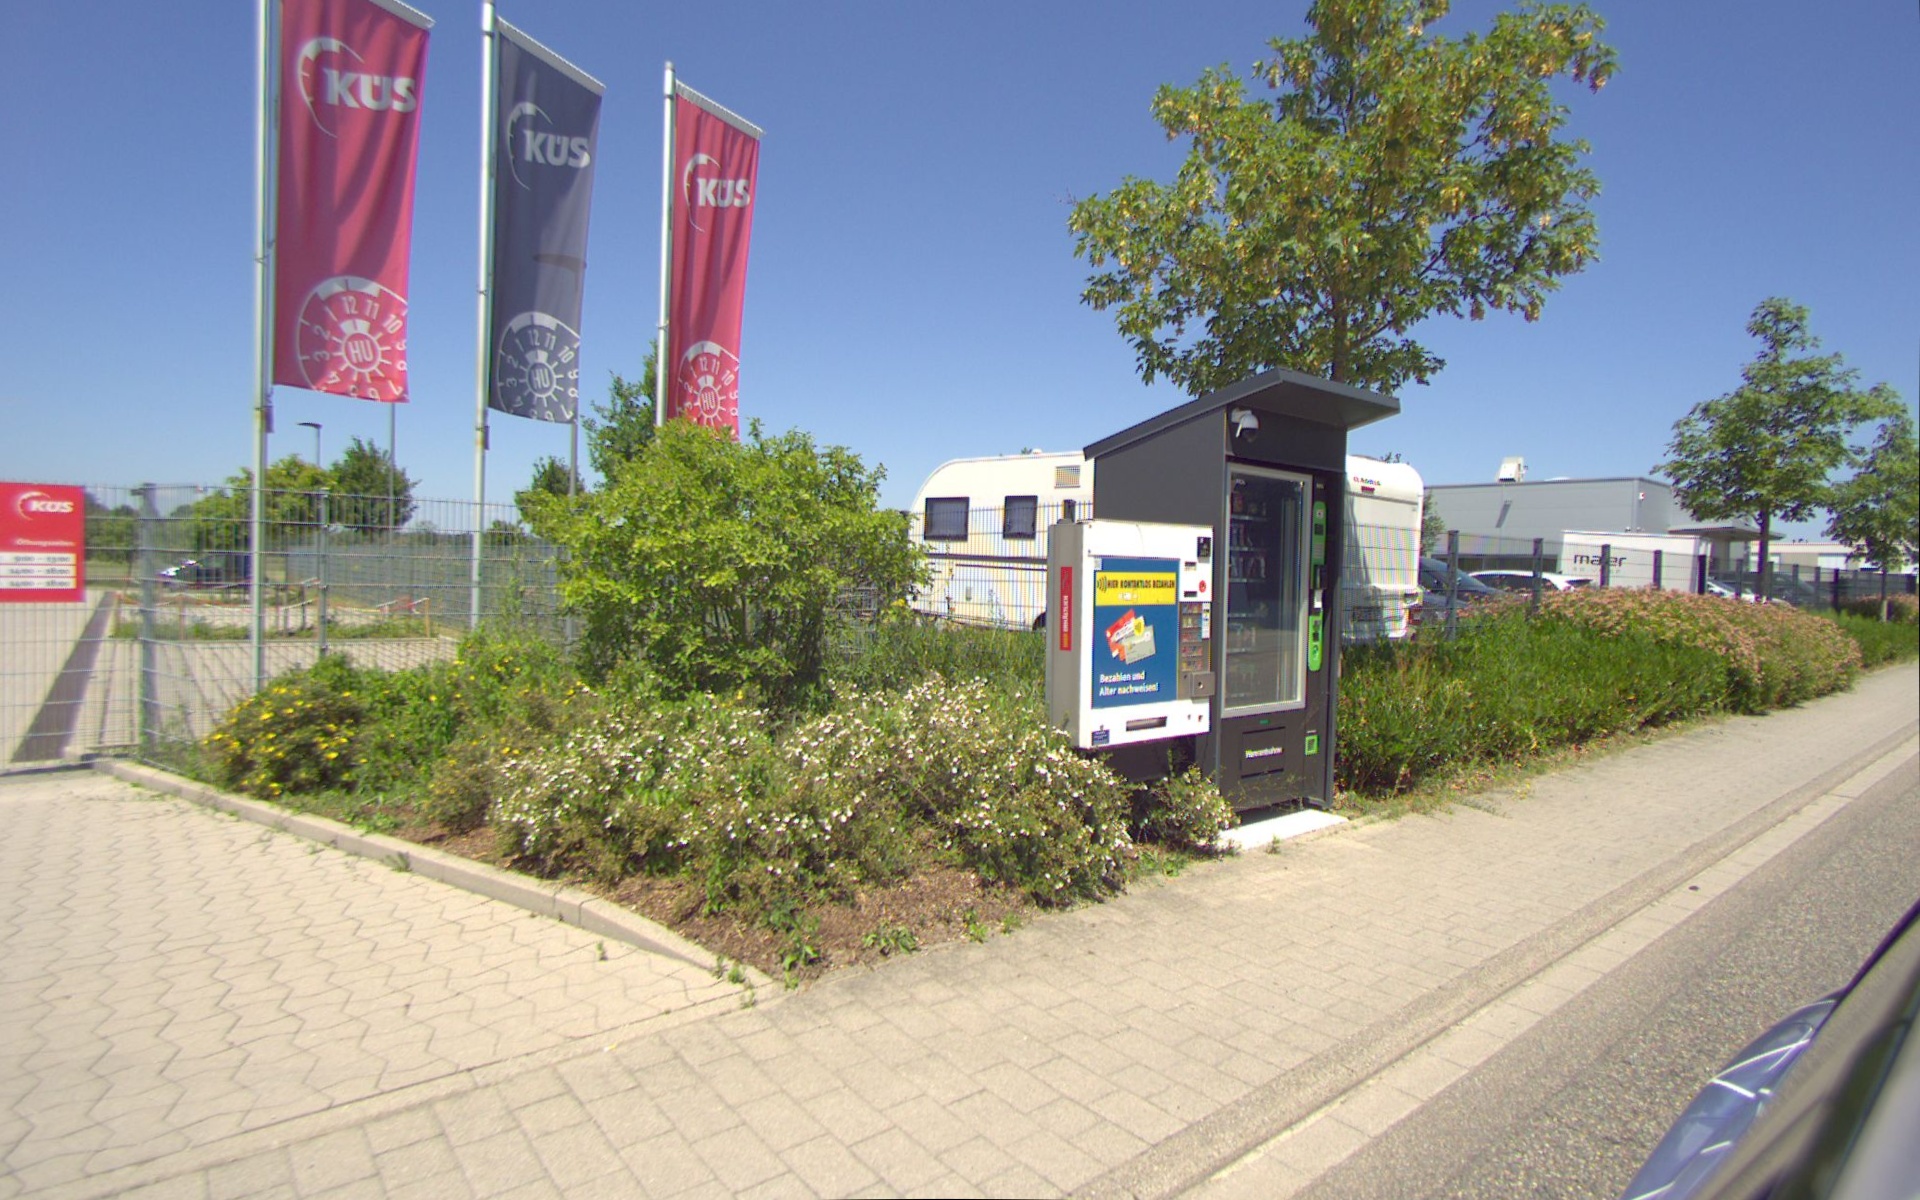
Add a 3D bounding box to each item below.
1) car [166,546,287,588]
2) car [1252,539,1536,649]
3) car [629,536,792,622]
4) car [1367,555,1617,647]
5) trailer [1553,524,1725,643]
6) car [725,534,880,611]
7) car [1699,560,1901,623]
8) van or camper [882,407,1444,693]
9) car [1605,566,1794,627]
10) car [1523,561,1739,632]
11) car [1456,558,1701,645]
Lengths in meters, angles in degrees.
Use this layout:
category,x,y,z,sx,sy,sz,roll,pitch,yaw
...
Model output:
category,x,y,z,sx,sy,sz,roll,pitch,yaw
car,-27.353,-1.182,37.791,3.542,1.475,1.764,-1,0,-41
car,7.568,-0.202,18.017,1.776,1.639,4.263,0,4,-40
car,-5.189,-0.487,20.761,1.719,1.595,3.830,0,3,-40
car,10.128,-0.055,19.463,1.776,1.457,3.846,-1,4,-43
trailer,14.893,-0.417,22.266,1.396,2.432,2.826,0,3,-43
car,-3.567,-0.658,22.505,1.649,1.561,3.830,0,3,-40
car,29.180,-0.351,35.331,1.869,1.896,5.126,0,4,-40
van or camper,2.063,-0.614,12.729,2.589,2.616,6.772,0,3,-40
car,20.834,-0.155,28.630,1.790,1.540,3.996,0,3,-40
car,16.473,-0.145,24.992,1.885,1.522,4.051,0,3,-40
car,12.613,-0.039,20.826,1.774,1.493,3.901,0,4,-40
